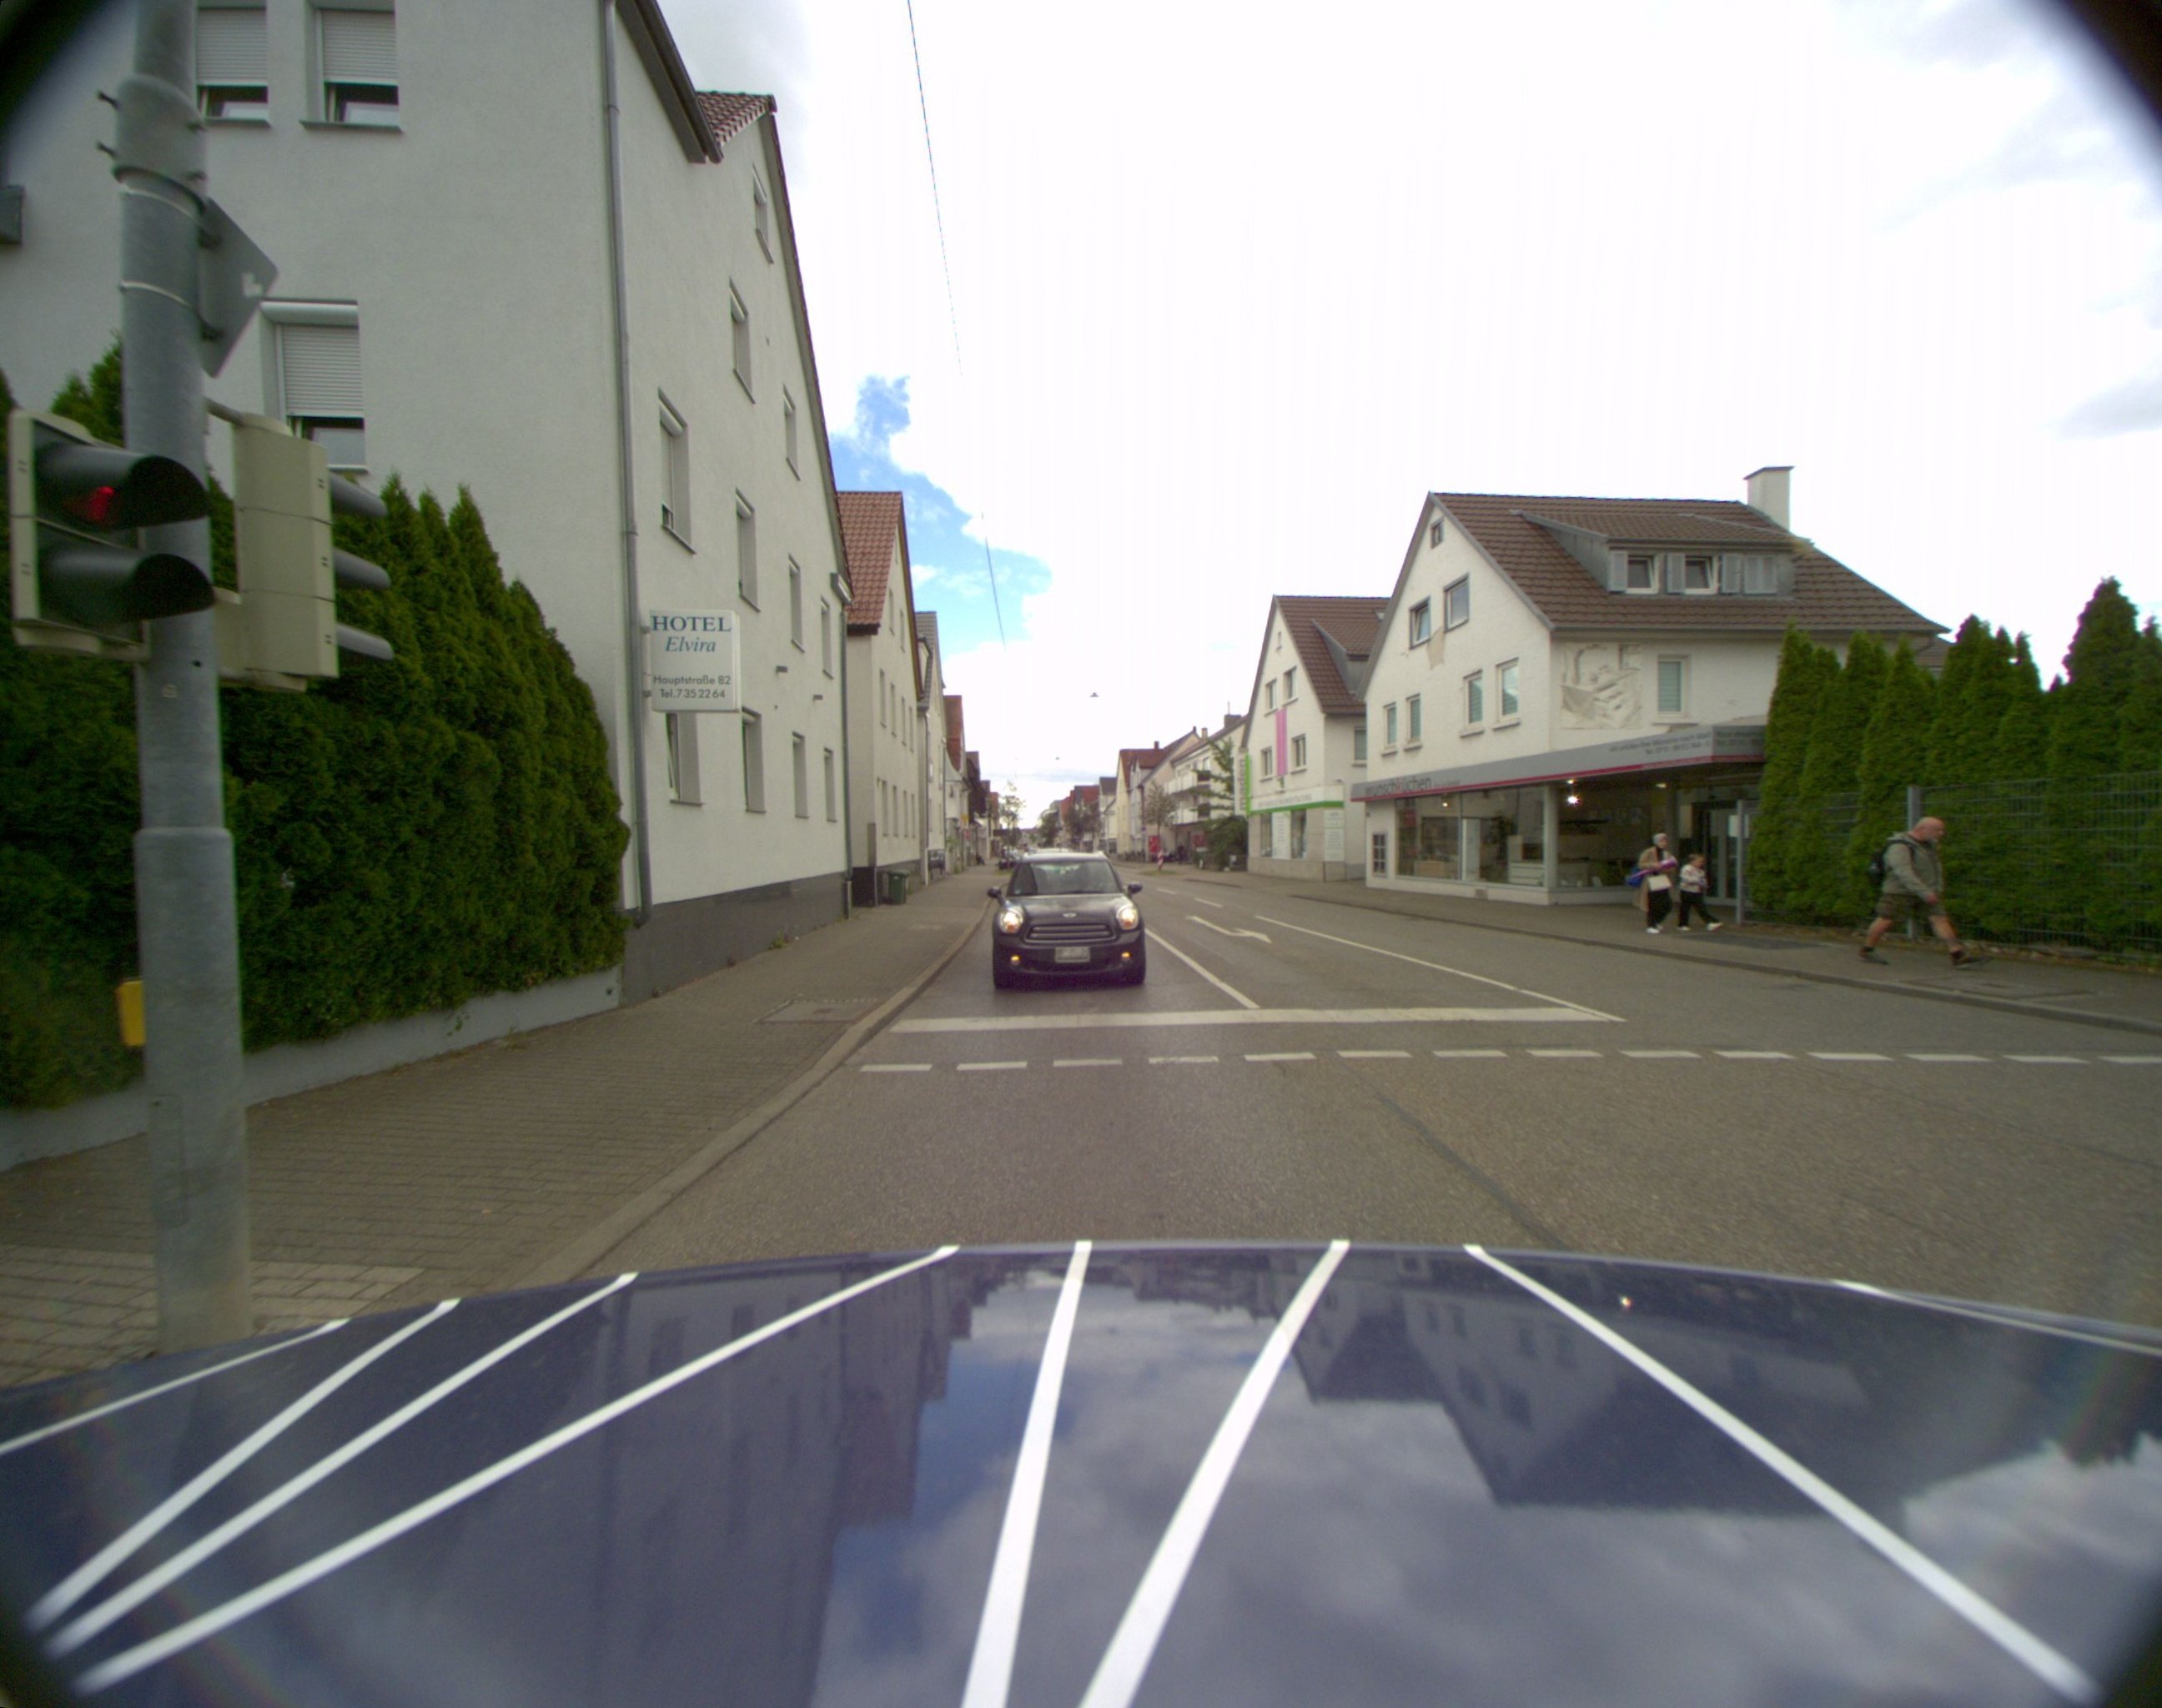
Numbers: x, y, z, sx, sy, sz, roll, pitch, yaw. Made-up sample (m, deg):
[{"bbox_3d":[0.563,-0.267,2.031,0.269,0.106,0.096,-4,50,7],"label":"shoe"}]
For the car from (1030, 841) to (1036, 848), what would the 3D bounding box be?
[{"bbox_3d":[-16.390,-3.227,258.378,1.952,2.118,4.320,0,1,-7],"label":"car"}]

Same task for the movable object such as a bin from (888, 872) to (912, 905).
[{"bbox_3d":[-5.070,0.961,21.308,0.566,0.898,0.519,0,1,-3],"label":"movable object such as a bin"}]

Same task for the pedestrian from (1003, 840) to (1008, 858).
[{"bbox_3d":[-7.220,-0.488,72.791,0.497,1.744,0.451,-1,1,-3],"label":"pedestrian"}]

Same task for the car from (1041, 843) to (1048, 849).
[{"bbox_3d":[-9.968,-2.113,208.487,1.846,1.510,3.998,-2,1,-4],"label":"car"}]

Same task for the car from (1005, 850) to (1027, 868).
[{"bbox_3d":[-5.874,0.419,68.571,1.847,1.510,3.997,-2,1,-6],"label":"car"}]

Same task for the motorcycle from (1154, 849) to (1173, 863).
[{"bbox_3d":[7.275,0.175,67.083,1.515,1.099,0.589,-4,2,2],"label":"motorcycle"}]

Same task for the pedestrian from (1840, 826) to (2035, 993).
[{"bbox_3d":[9.733,0.580,8.697,0.823,1.744,1.229,-2,2,-3],"label":"pedestrian"}]

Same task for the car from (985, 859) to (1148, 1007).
[{"bbox_3d":[-0.252,0.845,10.058,1.694,1.506,3.999,-1,0,-3],"label":"car"}]

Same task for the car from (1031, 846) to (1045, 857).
[{"bbox_3d":[-6.088,-0.358,107.735,1.846,1.510,3.998,-2,1,-4],"label":"car"}]

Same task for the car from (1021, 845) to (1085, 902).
[{"bbox_3d":[-1.028,0.562,25.710,1.812,1.556,4.613,-2,3,-6],"label":"car"}]

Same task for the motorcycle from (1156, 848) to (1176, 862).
[{"bbox_3d":[7.675,0.090,68.830,1.679,1.099,0.558,-3,2,-4],"label":"motorcycle"}]

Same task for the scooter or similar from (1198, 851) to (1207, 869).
[{"bbox_3d":[7.783,0.374,48.704,0.465,1.117,1.829,-2,1,10],"label":"scooter or similar"}]

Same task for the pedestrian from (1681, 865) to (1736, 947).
[{"bbox_3d":[10.107,0.824,12.252,0.383,1.254,0.549,-3,2,-14],"label":"pedestrian"}]

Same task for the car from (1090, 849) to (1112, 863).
[{"bbox_3d":[2.007,0.167,76.889,1.634,1.404,3.997,0,1,-7],"label":"car"}]

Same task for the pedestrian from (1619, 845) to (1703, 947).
[{"bbox_3d":[9.507,0.656,12.482,0.642,1.596,0.865,-3,2,-14],"label":"pedestrian"}]

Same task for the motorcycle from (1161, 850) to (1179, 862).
[{"bbox_3d":[7.755,0.189,66.313,1.430,1.017,0.525,-3,2,-4],"label":"motorcycle"}]

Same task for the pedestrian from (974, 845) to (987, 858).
[{"bbox_3d":[-9.526,-0.228,72.057,0.982,1.272,0.667,0,1,8],"label":"pedestrian"}]

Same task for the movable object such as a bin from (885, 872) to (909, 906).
[{"bbox_3d":[-5.018,0.957,20.757,0.566,0.898,0.519,0,1,-3],"label":"movable object such as a bin"}]
